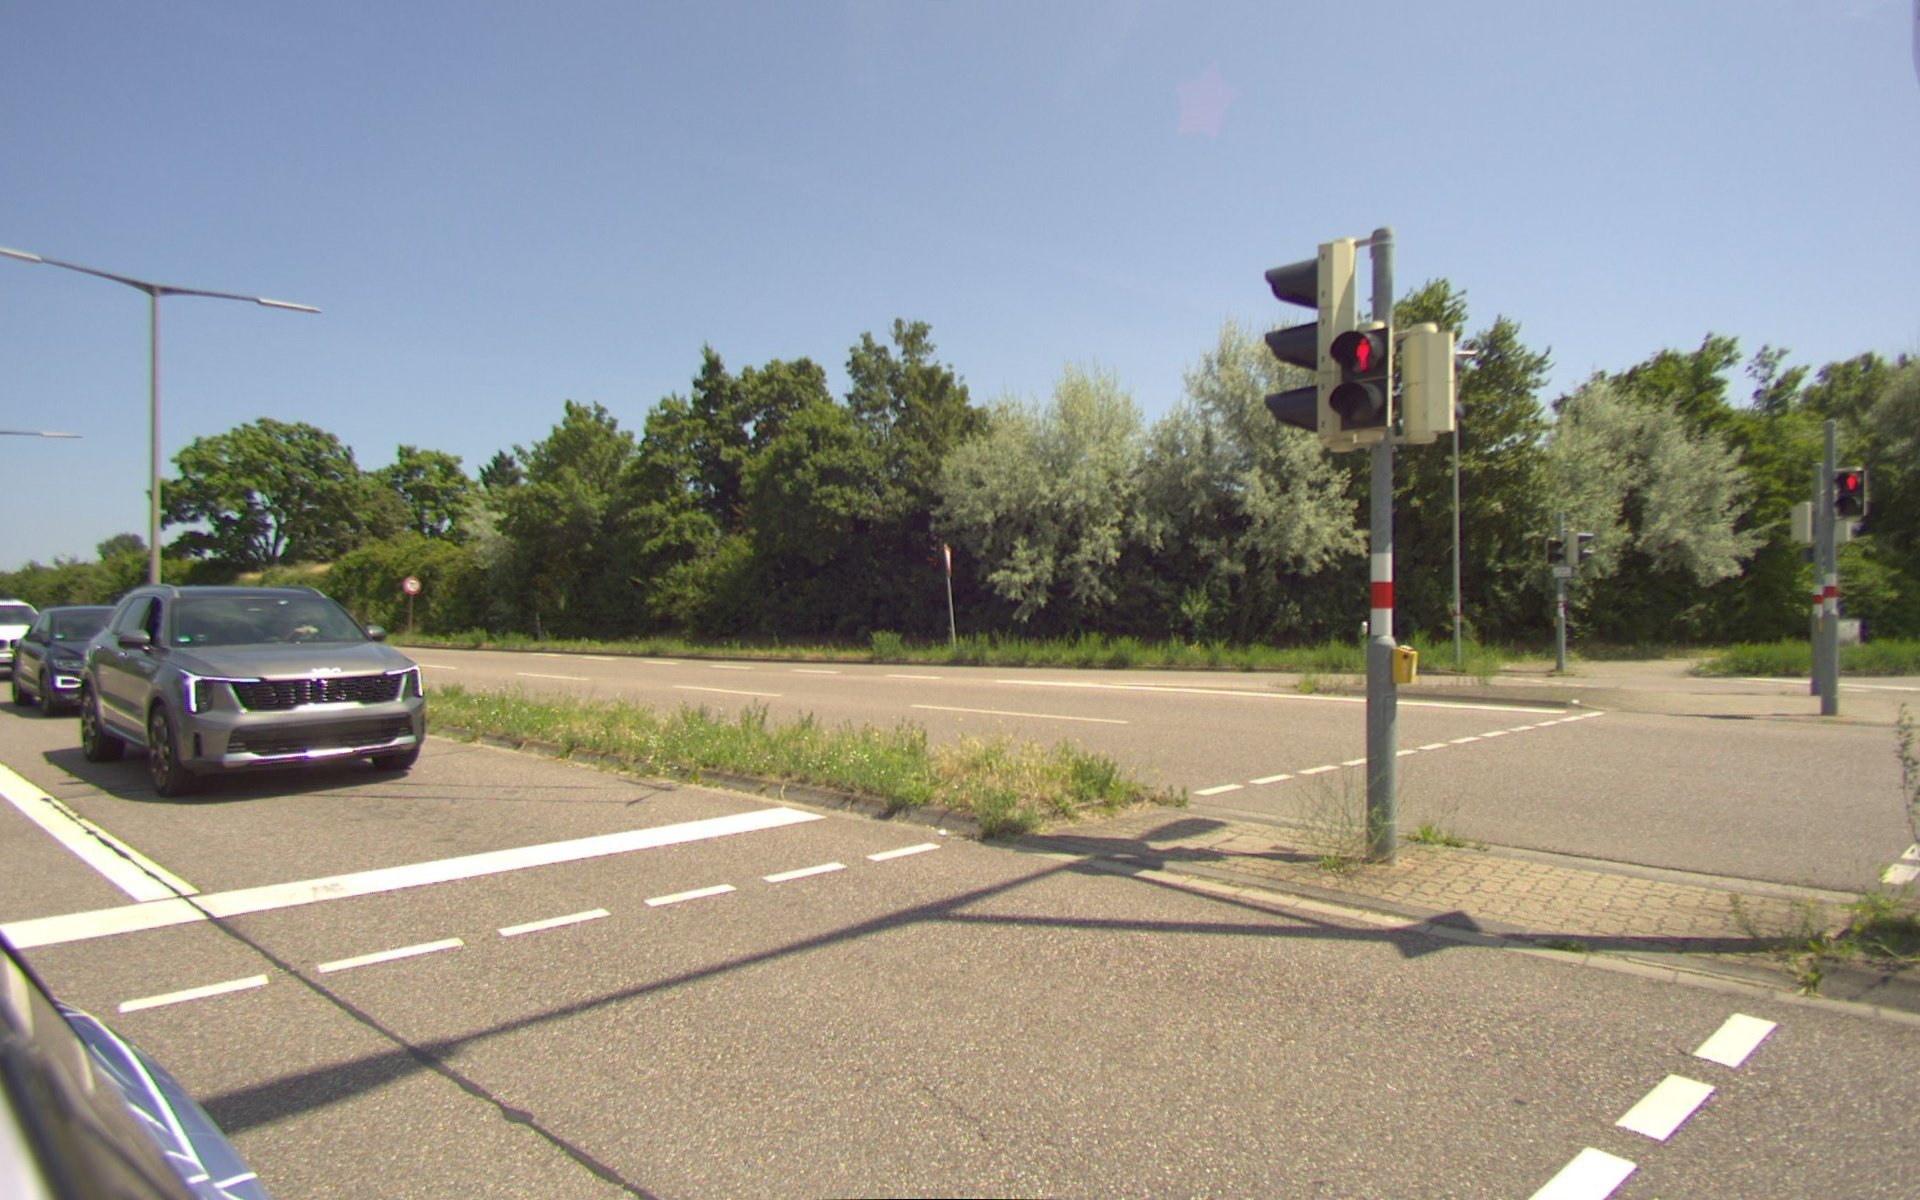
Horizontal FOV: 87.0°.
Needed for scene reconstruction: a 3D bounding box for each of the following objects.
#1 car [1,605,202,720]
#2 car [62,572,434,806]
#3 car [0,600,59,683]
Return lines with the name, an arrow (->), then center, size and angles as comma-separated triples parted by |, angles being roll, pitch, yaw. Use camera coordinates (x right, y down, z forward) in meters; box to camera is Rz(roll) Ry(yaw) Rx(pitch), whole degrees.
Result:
car -> -13.107, 0.855, 15.372 | 3.997, 1.511, 1.731 | -1, 0, 41
car -> -6.782, 0.674, 9.440 | 4.528, 1.681, 1.762 | -1, -1, 40
car -> -21.125, 0.854, 21.866 | 3.998, 1.684, 1.897 | 0, -1, 40
